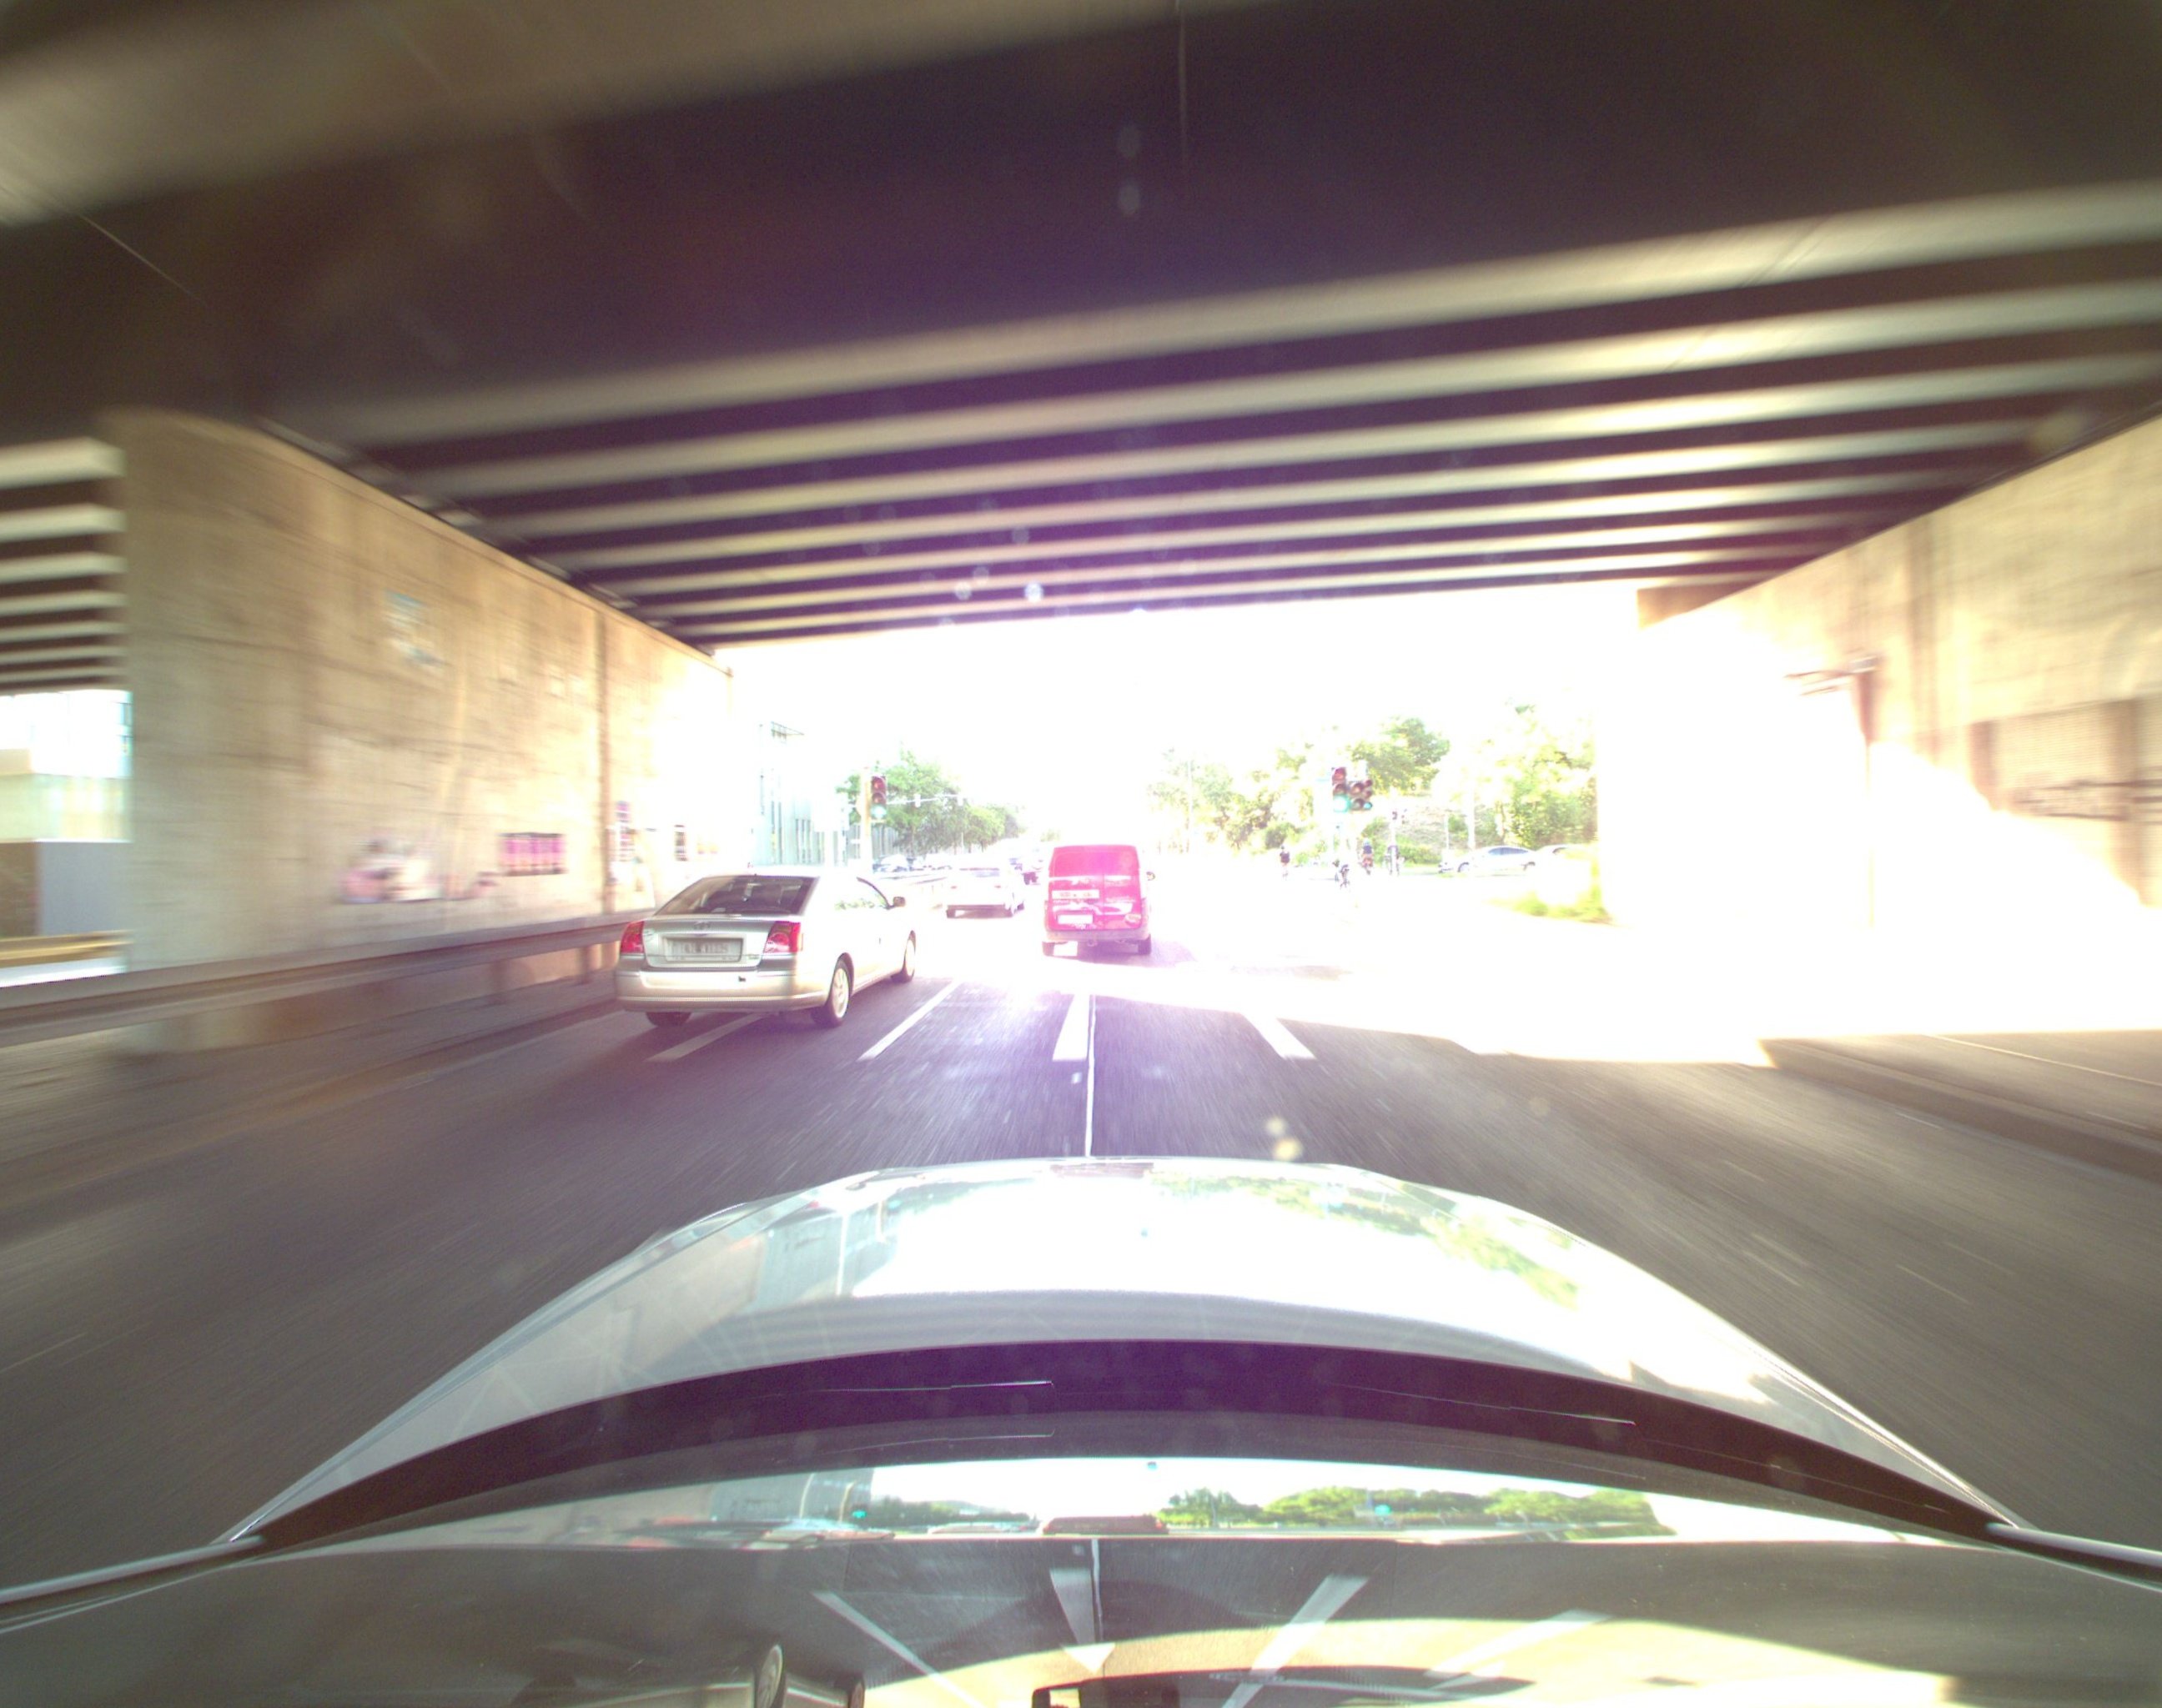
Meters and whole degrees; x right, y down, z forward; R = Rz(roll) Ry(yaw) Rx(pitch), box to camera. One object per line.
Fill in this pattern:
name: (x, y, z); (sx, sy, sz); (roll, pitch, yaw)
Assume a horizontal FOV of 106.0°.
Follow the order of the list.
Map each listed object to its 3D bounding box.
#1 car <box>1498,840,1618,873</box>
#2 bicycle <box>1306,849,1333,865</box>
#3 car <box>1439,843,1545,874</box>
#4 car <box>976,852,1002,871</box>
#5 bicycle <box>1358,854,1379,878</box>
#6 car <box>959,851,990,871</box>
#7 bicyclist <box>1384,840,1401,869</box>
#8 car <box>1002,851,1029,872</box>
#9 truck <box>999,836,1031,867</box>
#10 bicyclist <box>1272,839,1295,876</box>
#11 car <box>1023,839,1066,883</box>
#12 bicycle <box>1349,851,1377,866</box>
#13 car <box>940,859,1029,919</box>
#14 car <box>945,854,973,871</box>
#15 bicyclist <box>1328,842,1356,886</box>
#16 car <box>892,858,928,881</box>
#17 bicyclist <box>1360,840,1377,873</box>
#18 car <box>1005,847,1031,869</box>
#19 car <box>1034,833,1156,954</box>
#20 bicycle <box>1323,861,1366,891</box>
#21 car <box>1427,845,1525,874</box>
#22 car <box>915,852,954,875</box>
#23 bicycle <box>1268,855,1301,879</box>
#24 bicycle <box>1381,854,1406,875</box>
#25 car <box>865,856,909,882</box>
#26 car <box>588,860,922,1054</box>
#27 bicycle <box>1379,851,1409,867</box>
car: (22.470, 0.142, 38.517); (4.522, 1.514, 1.832); (-1, -1, 8)
bicycle: (16.405, 0.205, 56.025); (1.734, 1.023, 0.595); (-1, -2, 10)
car: (21.123, 0.240, 41.988); (4.522, 1.514, 1.832); (-1, -1, 8)
car: (-7.832, 0.643, 69.776); (1.630, 1.443, 4.077); (-4, 0, 0)
bicycle: (13.198, 0.558, 37.422); (0.667, 1.023, 2.063); (-1, -1, 14)
car: (-8.354, 0.546, 64.004); (1.629, 1.443, 4.079); (-4, 0, 2)
bicyclist: (15.848, 0.024, 41.421); (0.646, 1.481, 0.619); (-1, 0, 3)
car: (-5.129, 0.585, 64.114); (1.629, 1.443, 3.721); (-4, 0, 2)
truck: (-7.017, -0.231, 86.990); (2.400, 3.026, 6.660); (-4, 0, 2)
bicyclist: (8.941, 0.156, 35.943); (0.593, 1.614, 0.937); (0, -2, -16)
car: (-1.714, 0.376, 39.800); (1.794, 1.989, 4.590); (0, -1, 1)
bicycle: (18.867, 0.302, 54.495); (1.734, 1.023, 0.595); (-1, -2, 10)
car: (-2.494, 0.870, 21.813); (1.807, 1.438, 3.732); (-1, 0, 2)
car: (-10.773, 0.724, 72.053); (1.639, 1.404, 3.981); (-4, 0, 3)
bicyclist: (9.272, 0.349, 28.958); (0.593, 1.548, 0.765); (0, -2, -16)
car: (-14.178, 1.233, 67.873); (1.818, 1.737, 4.531); (-4, 0, 2)
bicyclist: (13.168, 0.116, 37.350); (0.660, 1.474, 0.754); (-1, -2, 13)
car: (-5.484, 0.358, 71.303); (1.750, 1.796, 4.085); (-4, 0, 2)
car: (0.265, 0.632, 14.099); (1.798, 1.795, 4.001); (0, -1, 1)
bicycle: (9.300, 0.779, 28.829); (0.593, 1.023, 1.741); (0, -1, -16)
car: (21.557, 0.295, 44.587); (4.522, 1.514, 1.832); (-1, -1, 8)
car: (-11.045, 0.704, 61.739); (1.817, 1.625, 4.532); (-4, 0, 3)
bicycle: (8.959, 0.579, 35.937); (0.593, 1.023, 1.741); (0, -1, -16)
bicycle: (15.848, 0.549, 41.360); (0.664, 1.023, 1.752); (-1, -1, 3)
car: (-14.002, 1.043, 58.930); (1.818, 1.737, 4.631); (-4, 0, 2)
car: (-2.981, 0.834, 8.541); (1.727, 1.480, 4.318); (-1, -1, 0)
bicycle: (20.535, 0.306, 53.485); (1.733, 1.023, 0.595); (-1, -2, 12)
